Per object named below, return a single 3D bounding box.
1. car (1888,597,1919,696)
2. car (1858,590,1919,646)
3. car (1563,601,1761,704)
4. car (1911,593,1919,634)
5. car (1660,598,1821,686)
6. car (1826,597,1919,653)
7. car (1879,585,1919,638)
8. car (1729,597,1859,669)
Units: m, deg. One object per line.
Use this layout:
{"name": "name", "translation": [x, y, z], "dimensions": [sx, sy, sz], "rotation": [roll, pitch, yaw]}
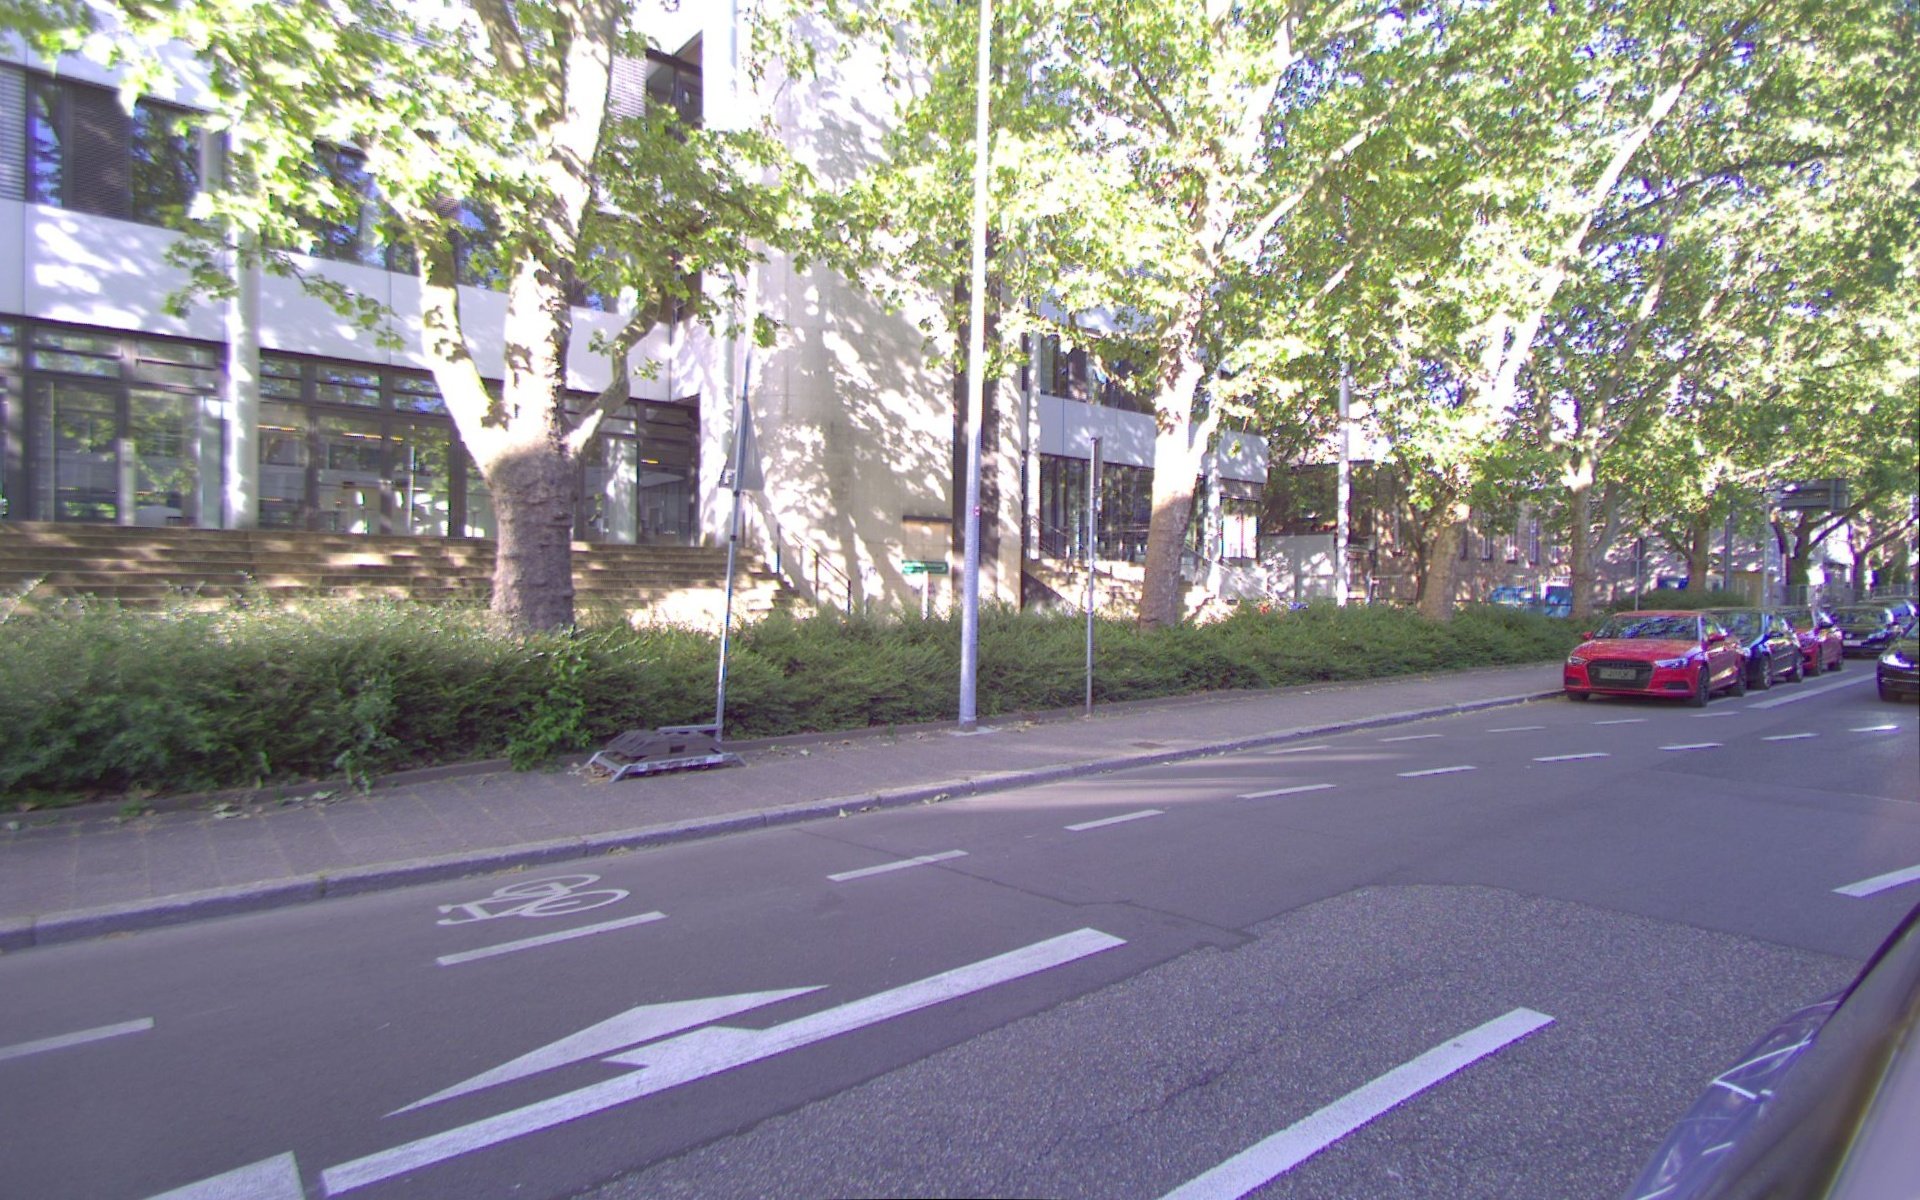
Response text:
{"name": "car", "translation": [15.994, 0.675, 15.635], "dimensions": [3.828, 1.459, 1.695], "rotation": [0, -1, -36]}
{"name": "car", "translation": [29.509, 0.524, 31.642], "dimensions": [3.770, 1.640, 1.684], "rotation": [0, 1, -41]}
{"name": "car", "translation": [11.239, 0.756, 16.107], "dimensions": [3.962, 1.439, 1.722], "rotation": [0, -2, -42]}
{"name": "car", "translation": [38.702, 0.511, 39.713], "dimensions": [3.801, 1.581, 1.684], "rotation": [0, 1, -41]}
{"name": "car", "translation": [14.804, 0.705, 19.134], "dimensions": [3.930, 1.485, 1.684], "rotation": [0, 0, -41]}
{"name": "car", "translation": [26.008, 0.655, 28.688], "dimensions": [3.930, 1.469, 1.684], "rotation": [0, 1, -41]}
{"name": "car", "translation": [33.964, 0.391, 35.697], "dimensions": [4.354, 1.790, 1.818], "rotation": [0, 1, -41]}
{"name": "car", "translation": [18.605, 0.676, 22.529], "dimensions": [3.715, 1.452, 1.664], "rotation": [0, 1, -41]}
